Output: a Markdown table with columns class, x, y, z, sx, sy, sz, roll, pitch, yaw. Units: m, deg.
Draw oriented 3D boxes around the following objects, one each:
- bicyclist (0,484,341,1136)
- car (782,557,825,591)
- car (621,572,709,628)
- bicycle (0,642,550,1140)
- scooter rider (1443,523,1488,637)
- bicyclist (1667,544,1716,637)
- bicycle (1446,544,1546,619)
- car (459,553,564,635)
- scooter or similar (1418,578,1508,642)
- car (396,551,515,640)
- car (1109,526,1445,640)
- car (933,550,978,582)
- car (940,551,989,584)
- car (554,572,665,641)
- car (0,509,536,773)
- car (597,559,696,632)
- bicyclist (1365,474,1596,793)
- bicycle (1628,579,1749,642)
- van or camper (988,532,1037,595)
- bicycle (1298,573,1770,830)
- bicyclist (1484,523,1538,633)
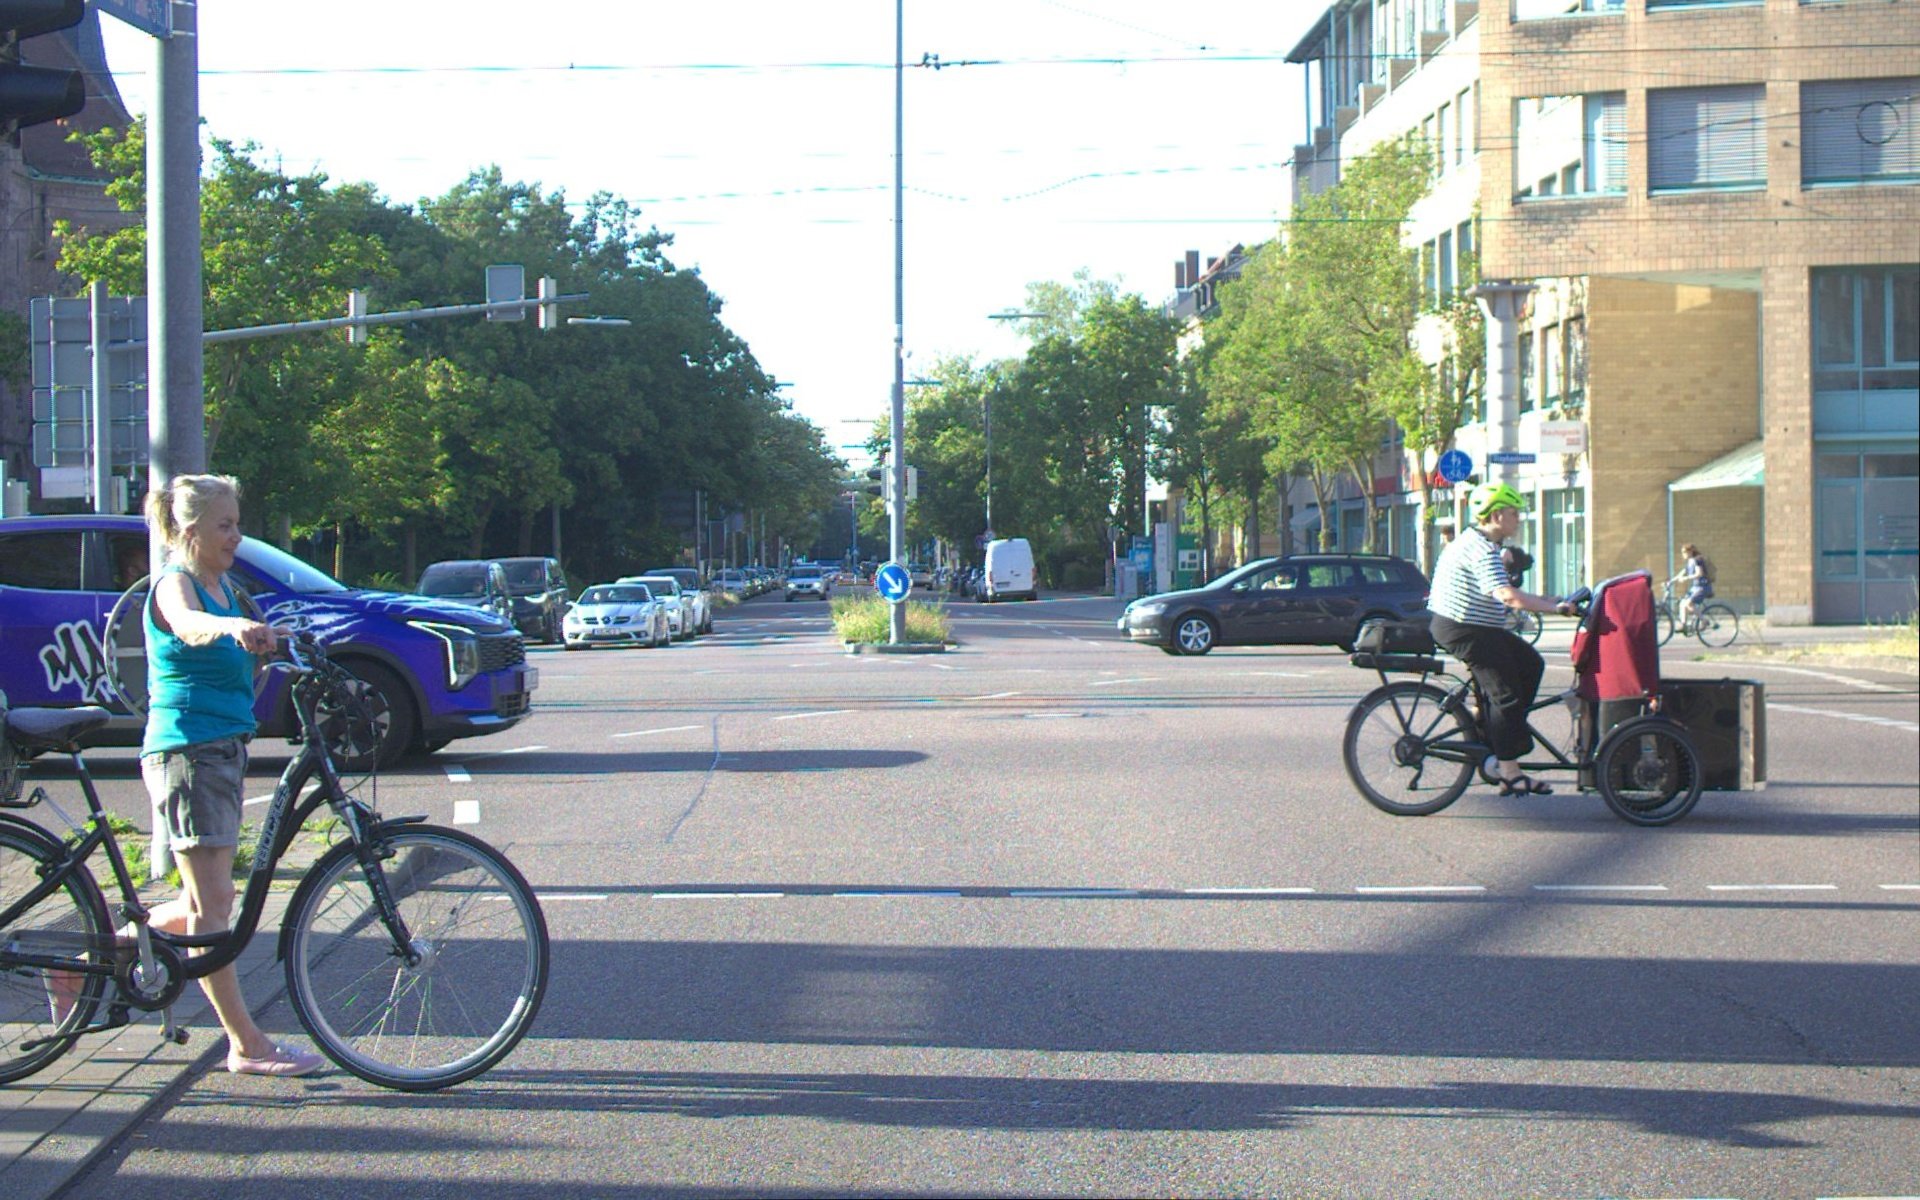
| class | x | y | z | sx | sy | sz | roll | pitch | yaw |
| --- | --- | --- | --- | --- | --- | --- | --- | --- | --- |
| bicyclist | -2.128 | 0.528 | 9.233 | 0.782 | 1.654 | 0.901 | -1 | 1 | -3 |
| car | -6.985 | -1.172 | 153.812 | 1.780 | 1.444 | 4.000 | 0 | 1 | -1 |
| car | -6.865 | -0.017 | 80.296 | 1.780 | 1.232 | 4.000 | 0 | 1 | -1 |
| bicycle | -2.002 | 0.722 | 8.806 | 1.827 | 1.184 | 0.734 | -1 | 1 | -2 |
| scooter rider | 8.102 | -0.319 | 55.090 | 0.680 | 1.808 | 0.475 | -1 | 1 | 6 |
| bicyclist | 11.653 | -0.151 | 54.771 | 0.666 | 1.464 | 0.533 | 0 | 1 | 3 |
| bicycle | 8.454 | -0.293 | 54.242 | 1.520 | 1.168 | 0.475 | -1 | 1 | 6 |
| car | -9.668 | -0.153 | 74.351 | 1.780 | 1.698 | 4.000 | 0 | 1 | -1 |
| scooter or similar | 8.053 | 0.156 | 55.100 | 1.401 | 0.998 | 0.475 | -1 | 1 | 6 |
| car | -9.791 | -0.116 | 66.947 | 1.780 | 1.641 | 4.000 | 0 | 1 | -1 |
| car | 4.631 | -0.266 | 50.671 | 4.646 | 1.592 | 2.000 | -1 | 1 | -4 |
| car | -0.249 | -1.781 | 177.184 | 1.993 | 1.587 | 4.001 | -1 | 1 | -5 |
| car | 0.206 | -1.642 | 171.522 | 1.993 | 1.587 | 4.001 | -1 | 1 | -7 |
| car | -6.745 | 0.113 | 66.457 | 1.780 | 1.232 | 4.000 | 0 | 1 | -1 |
| car | -5.000 | 0.241 | 21.730 | 4.402 | 1.568 | 1.836 | -1 | 1 | 0 |
| car | -6.635 | -0.120 | 73.032 | 1.780 | 1.459 | 4.000 | 0 | 1 | -1 |
| bicyclist | 2.504 | 0.144 | 16.656 | 0.879 | 1.482 | 1.162 | -1 | 1 | -3 |
| bicycle | 11.598 | 0.171 | 54.781 | 1.821 | 0.981 | 0.533 | 0 | 1 | 3 |
| van or camper | 2.209 | -1.572 | 146.315 | 1.993 | 2.631 | 5.350 | -1 | 1 | 0 |
| bicycle | 2.747 | 0.468 | 16.674 | 2.042 | 1.164 | 1.162 | -1 | 1 | -3 |
| bicyclist | 8.675 | -0.349 | 54.139 | 0.790 | 1.730 | 0.475 | -1 | 1 | 6 |
